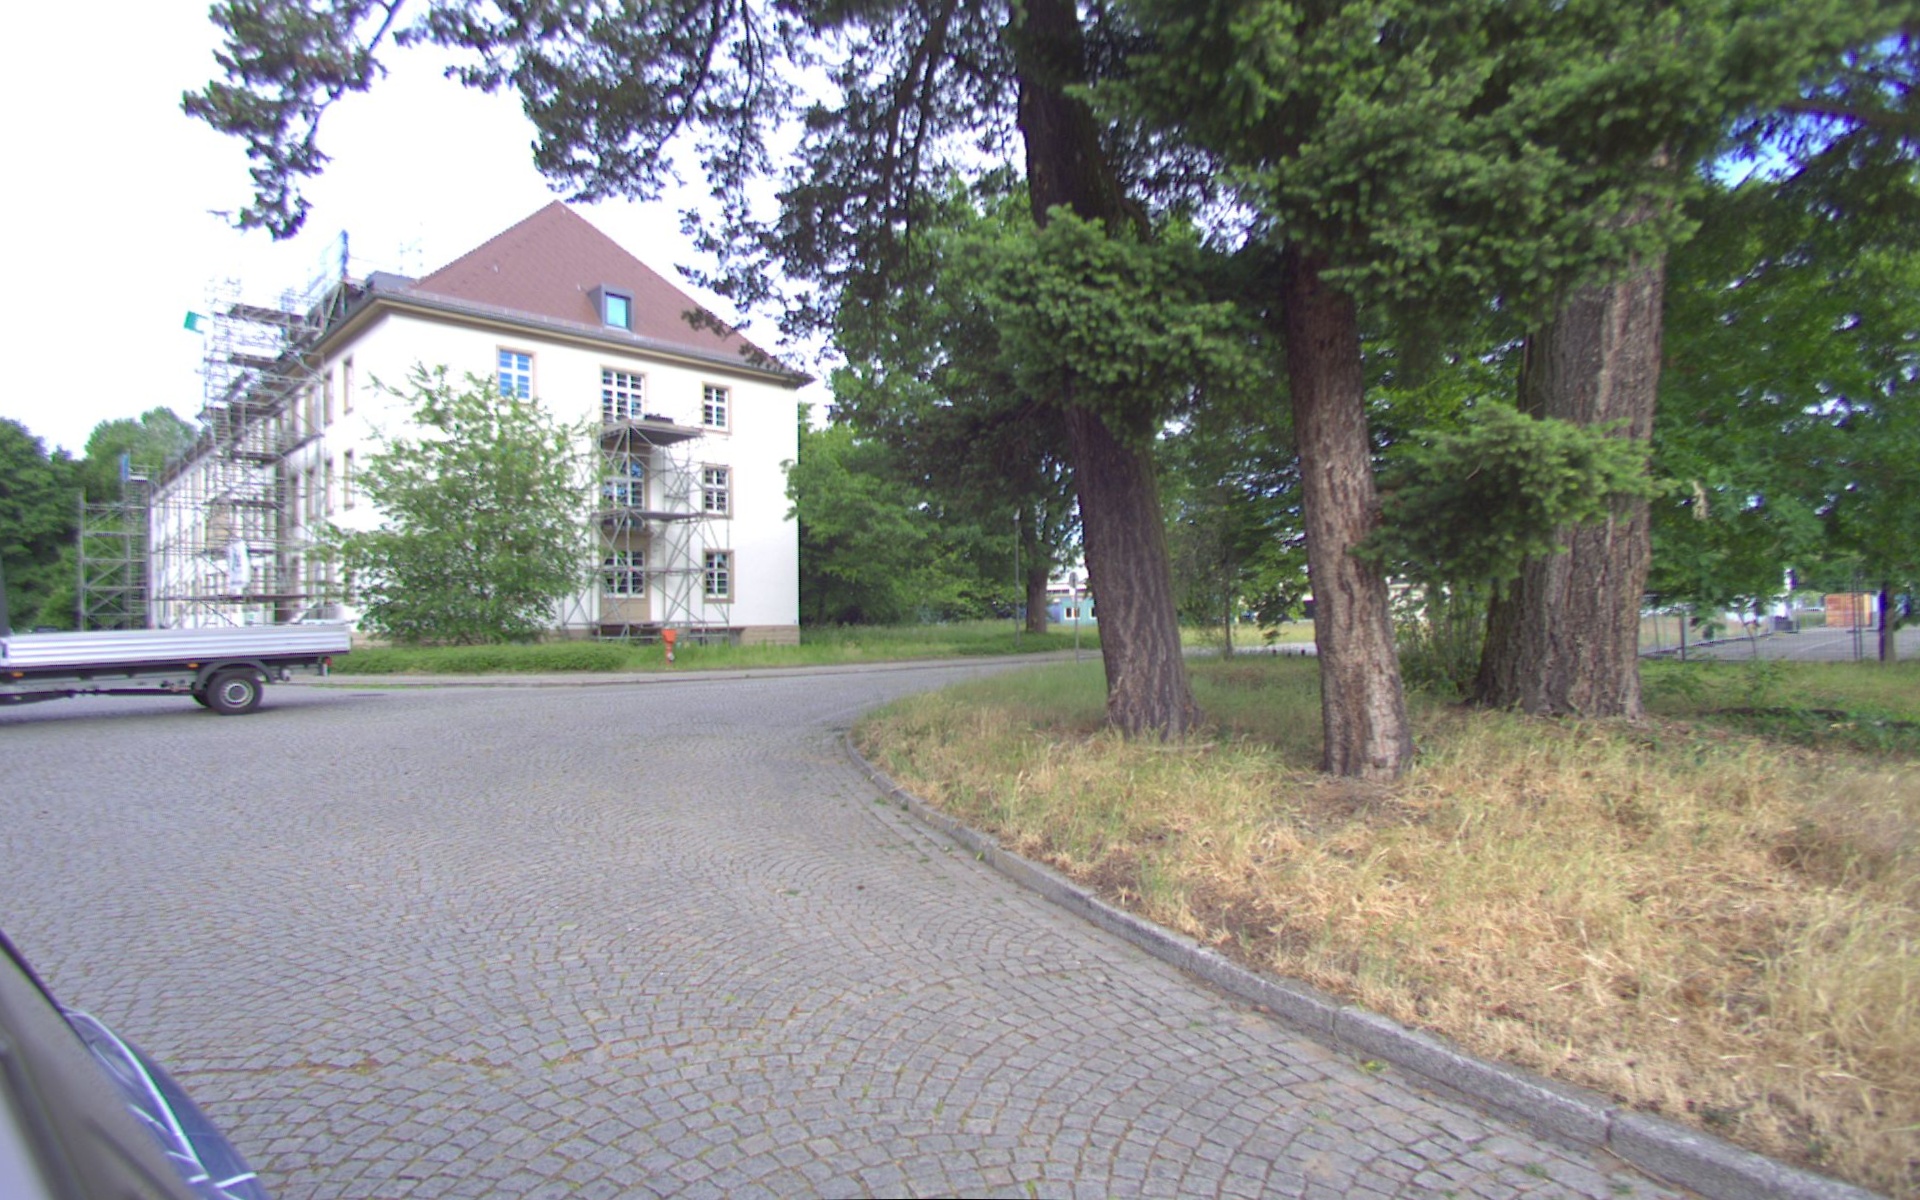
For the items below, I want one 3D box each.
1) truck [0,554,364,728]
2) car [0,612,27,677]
[{"bbox_3d":[-13.200,0.604,15.287,6.983,2.384,1.994,0,-2,-45],"label":"truck"},{"bbox_3d":[-32.054,1.395,30.966,5.077,2.029,2.001,1,-2,-45],"label":"car"}]
